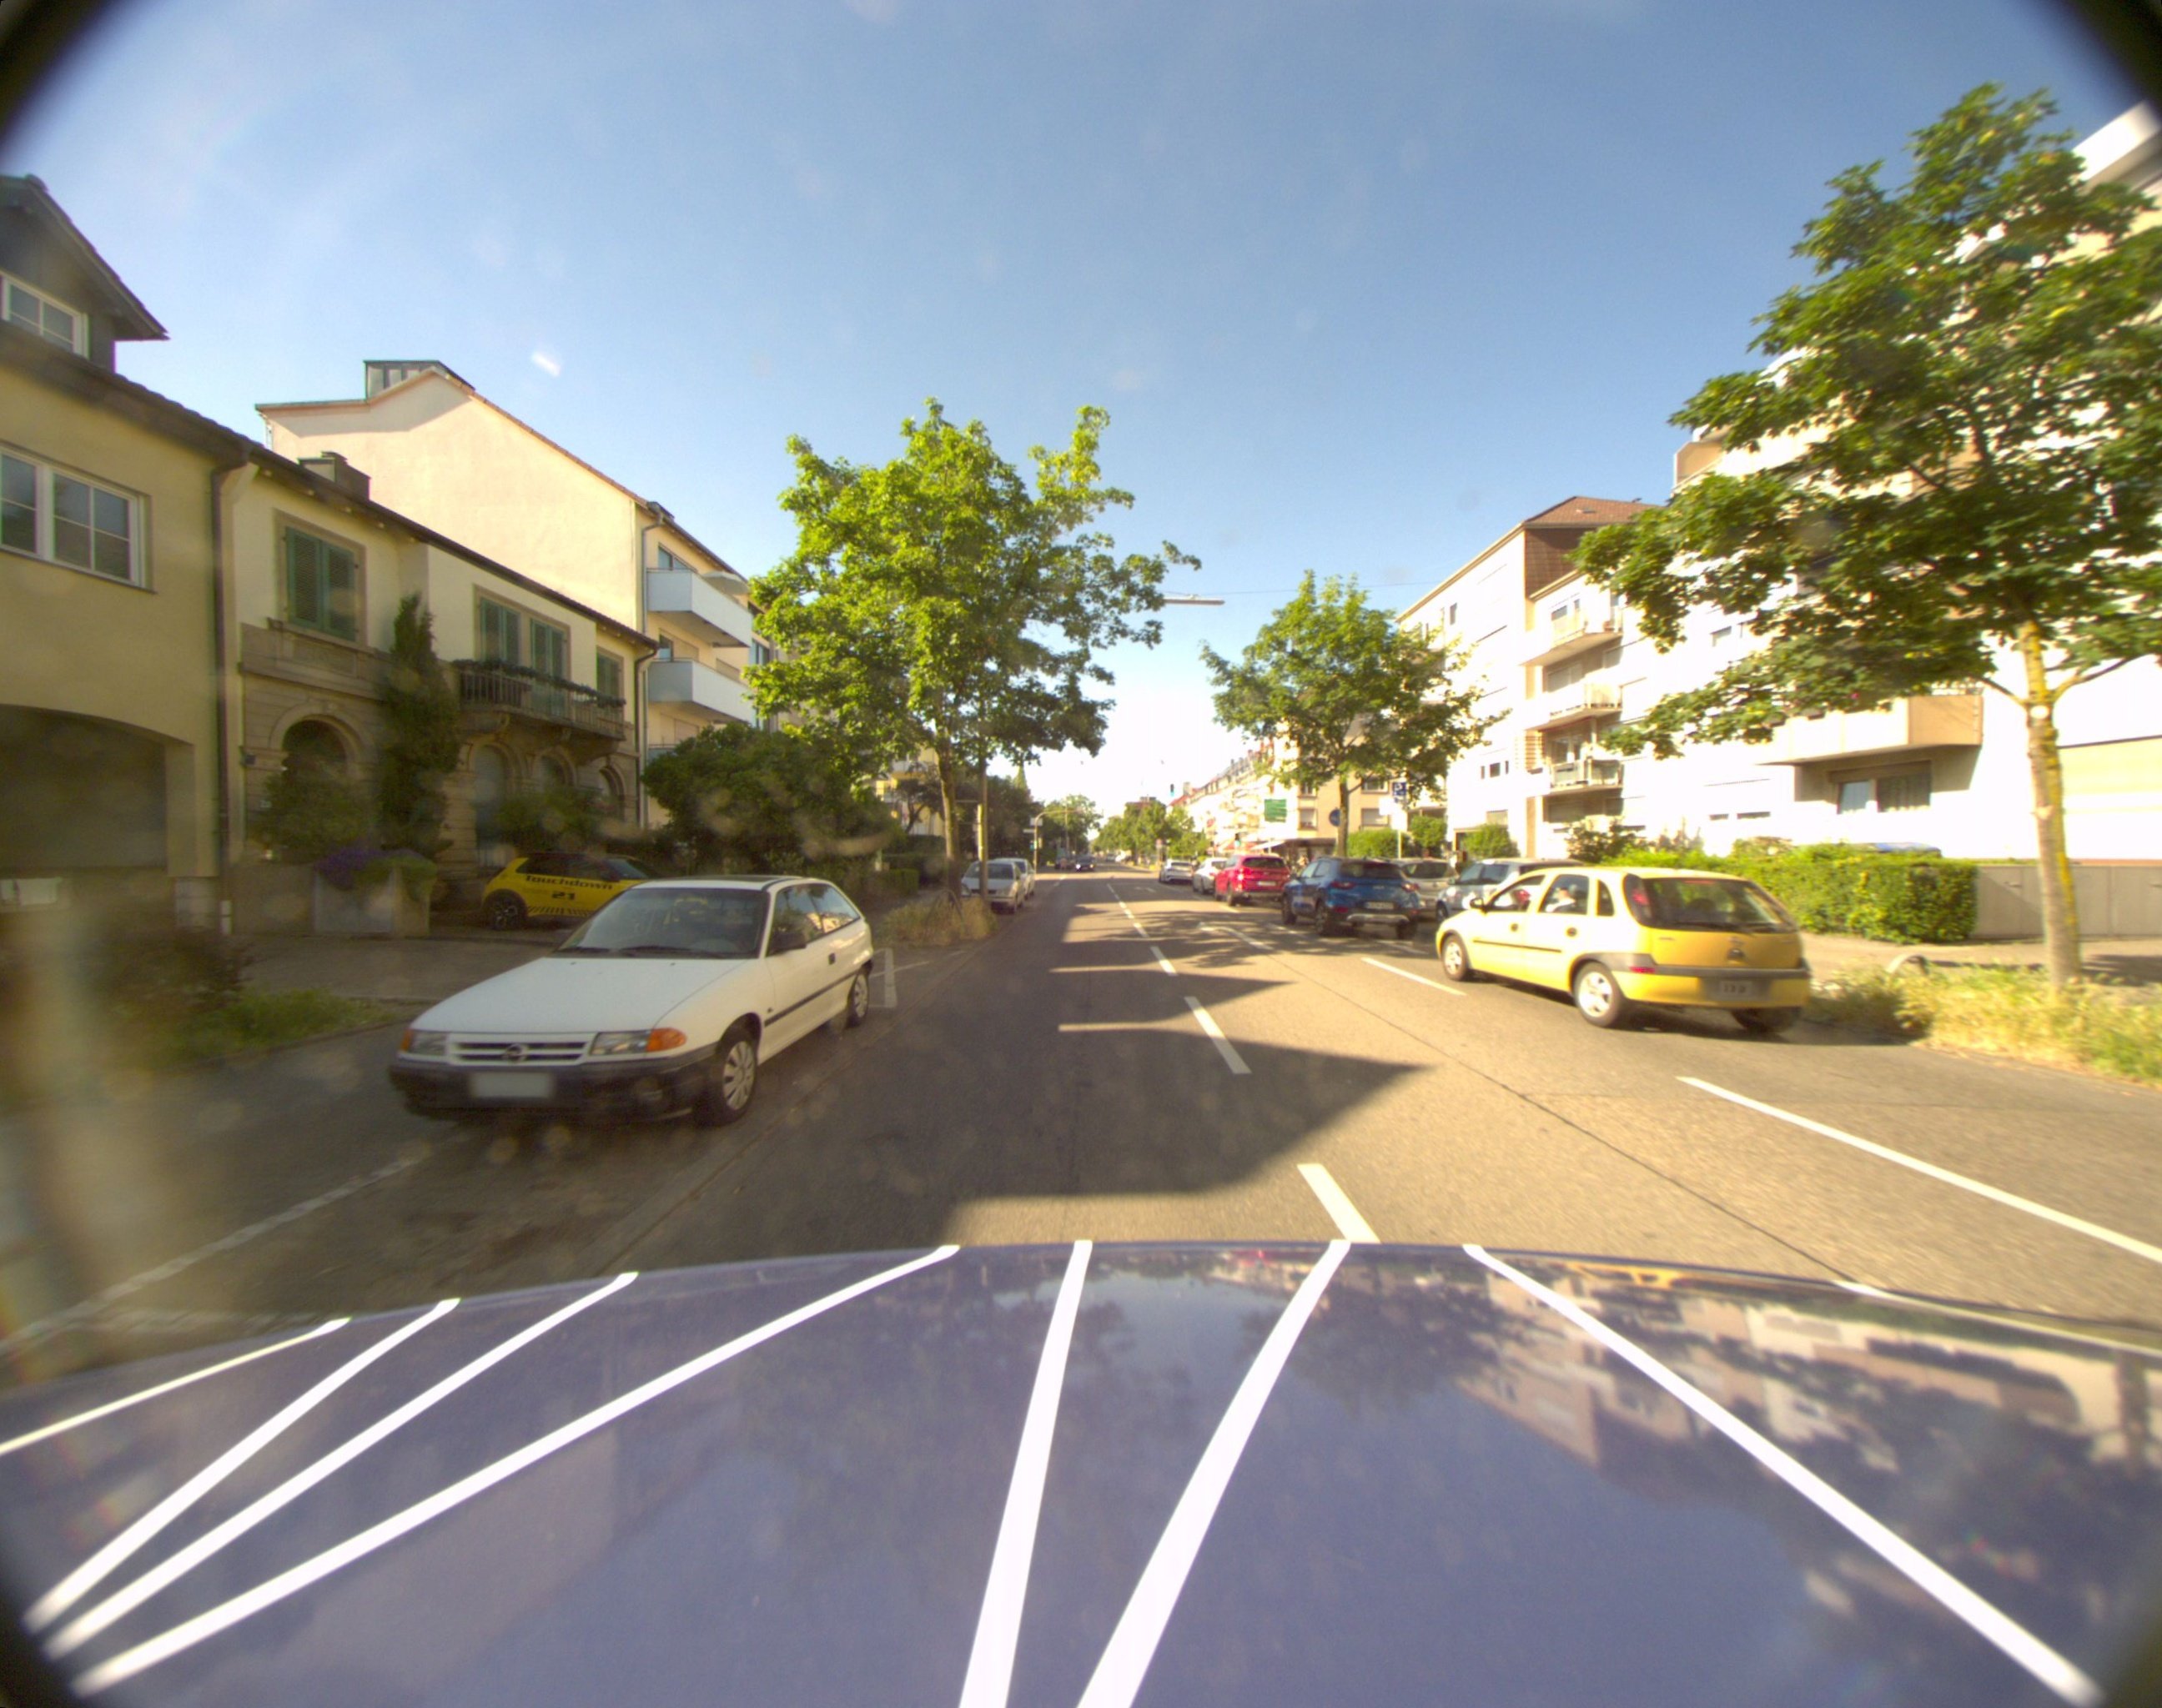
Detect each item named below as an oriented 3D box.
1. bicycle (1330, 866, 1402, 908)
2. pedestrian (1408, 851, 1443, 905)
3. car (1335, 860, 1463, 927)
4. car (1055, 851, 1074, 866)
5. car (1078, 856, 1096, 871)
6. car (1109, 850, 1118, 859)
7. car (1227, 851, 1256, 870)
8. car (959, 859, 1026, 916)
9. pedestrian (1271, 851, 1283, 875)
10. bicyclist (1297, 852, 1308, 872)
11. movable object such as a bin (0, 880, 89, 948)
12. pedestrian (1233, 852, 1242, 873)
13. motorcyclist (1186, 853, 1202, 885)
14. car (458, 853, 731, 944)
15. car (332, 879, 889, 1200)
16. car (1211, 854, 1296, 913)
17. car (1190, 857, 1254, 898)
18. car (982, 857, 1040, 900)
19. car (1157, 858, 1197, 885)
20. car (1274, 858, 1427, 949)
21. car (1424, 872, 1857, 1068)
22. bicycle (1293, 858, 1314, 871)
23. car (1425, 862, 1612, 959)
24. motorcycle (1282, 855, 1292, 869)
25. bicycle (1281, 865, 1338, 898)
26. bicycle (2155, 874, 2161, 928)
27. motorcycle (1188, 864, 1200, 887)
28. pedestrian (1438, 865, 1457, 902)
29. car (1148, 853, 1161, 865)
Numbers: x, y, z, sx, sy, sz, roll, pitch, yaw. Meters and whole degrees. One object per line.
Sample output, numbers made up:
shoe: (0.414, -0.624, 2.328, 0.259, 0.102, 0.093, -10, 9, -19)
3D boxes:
bicycle: (8.242, 0.951, 21.975, 1.831, 1.080, 0.560, -3, 1, 0)
pedestrian: (10.803, 0.739, 23.853, 0.671, 1.677, 0.929, -1, 1, 0)
car: (7.846, 0.912, 19.121, 1.508, 1.467, 3.895, -1, 0, -1)
car: (-1.738, 0.501, 82.225, 1.822, 1.541, 4.304, 0, 0, 1)
car: (0.596, 0.884, 74.135, 1.654, 1.348, 4.304, 0, 0, 1)
car: (7.070, 0.140, 166.926, 1.966, 1.910, 5.496, 0, 0, 1)
car: (14.366, 0.528, 68.094, 1.764, 1.613, 4.304, 0, 0, 1)
car: (-2.504, 0.921, 22.244, 1.571, 1.448, 3.864, 1, 0, -1)
pedestrian: (13.387, 0.596, 51.838, 0.659, 1.649, 0.682, 0, 1, 2)
bicyclist: (17.806, 0.640, 61.165, 0.685, 1.598, 0.578, 0, 1, -1)
movable object such as a bin: (-16.082, 0.852, 10.872, 1.780, 0.889, 1.488, 1, 0, -2)
pedestrian: (12.735, 0.657, 61.950, 0.671, 1.709, 0.584, 0, 2, 10)
motorcyclist: (5.808, 0.759, 39.181, 0.730, 1.637, 0.918, 2, 1, 6)
car: (-9.170, 0.803, 14.568, 3.997, 1.432, 1.831, 3, 0, 1)
car: (-2.805, 0.974, 5.696, 1.653, 1.395, 3.970, 1, 0, 1)
car: (5.324, 0.855, 23.982, 1.726, 1.607, 4.300, 2, 0, 1)
car: (5.744, 0.907, 31.563, 1.818, 1.456, 4.778, 2, 0, 1)
car: (-2.609, 0.882, 29.182, 1.743, 1.473, 4.196, 1, 0, 1)
car: (5.532, 0.956, 44.125, 1.702, 1.398, 4.505, 2, 0, 0)
car: (5.317, 0.892, 15.571, 1.660, 1.508, 4.076, 2, 0, 1)
car: (5.221, 0.956, 7.813, 1.639, 1.395, 3.735, 2, 0, -1)
bicycle: (17.905, 0.857, 61.142, 1.565, 1.070, 0.449, 0, 1, -1)
car: (7.835, 0.928, 14.014, 1.404, 1.480, 3.686, -1, 0, 2)
motorcycle: (20.157, 0.806, 74.466, 0.570, 1.360, 1.763, 0, 0, 3)
bicycle: (8.466, 1.013, 28.164, 1.973, 1.156, 0.519, -1, 1, -4)
bicycle: (18.974, 0.823, 12.415, 0.482, 0.935, 1.655, 1, 0, 1)
motorcycle: (5.831, 1.100, 39.353, 0.449, 1.115, 1.933, 2, 0, 5)
pedestrian: (11.448, 0.913, 23.763, 0.335, 1.153, 0.490, -1, 1, 0)
car: (8.823, 0.608, 91.214, 1.322, 1.348, 3.093, 0, 0, 1)
